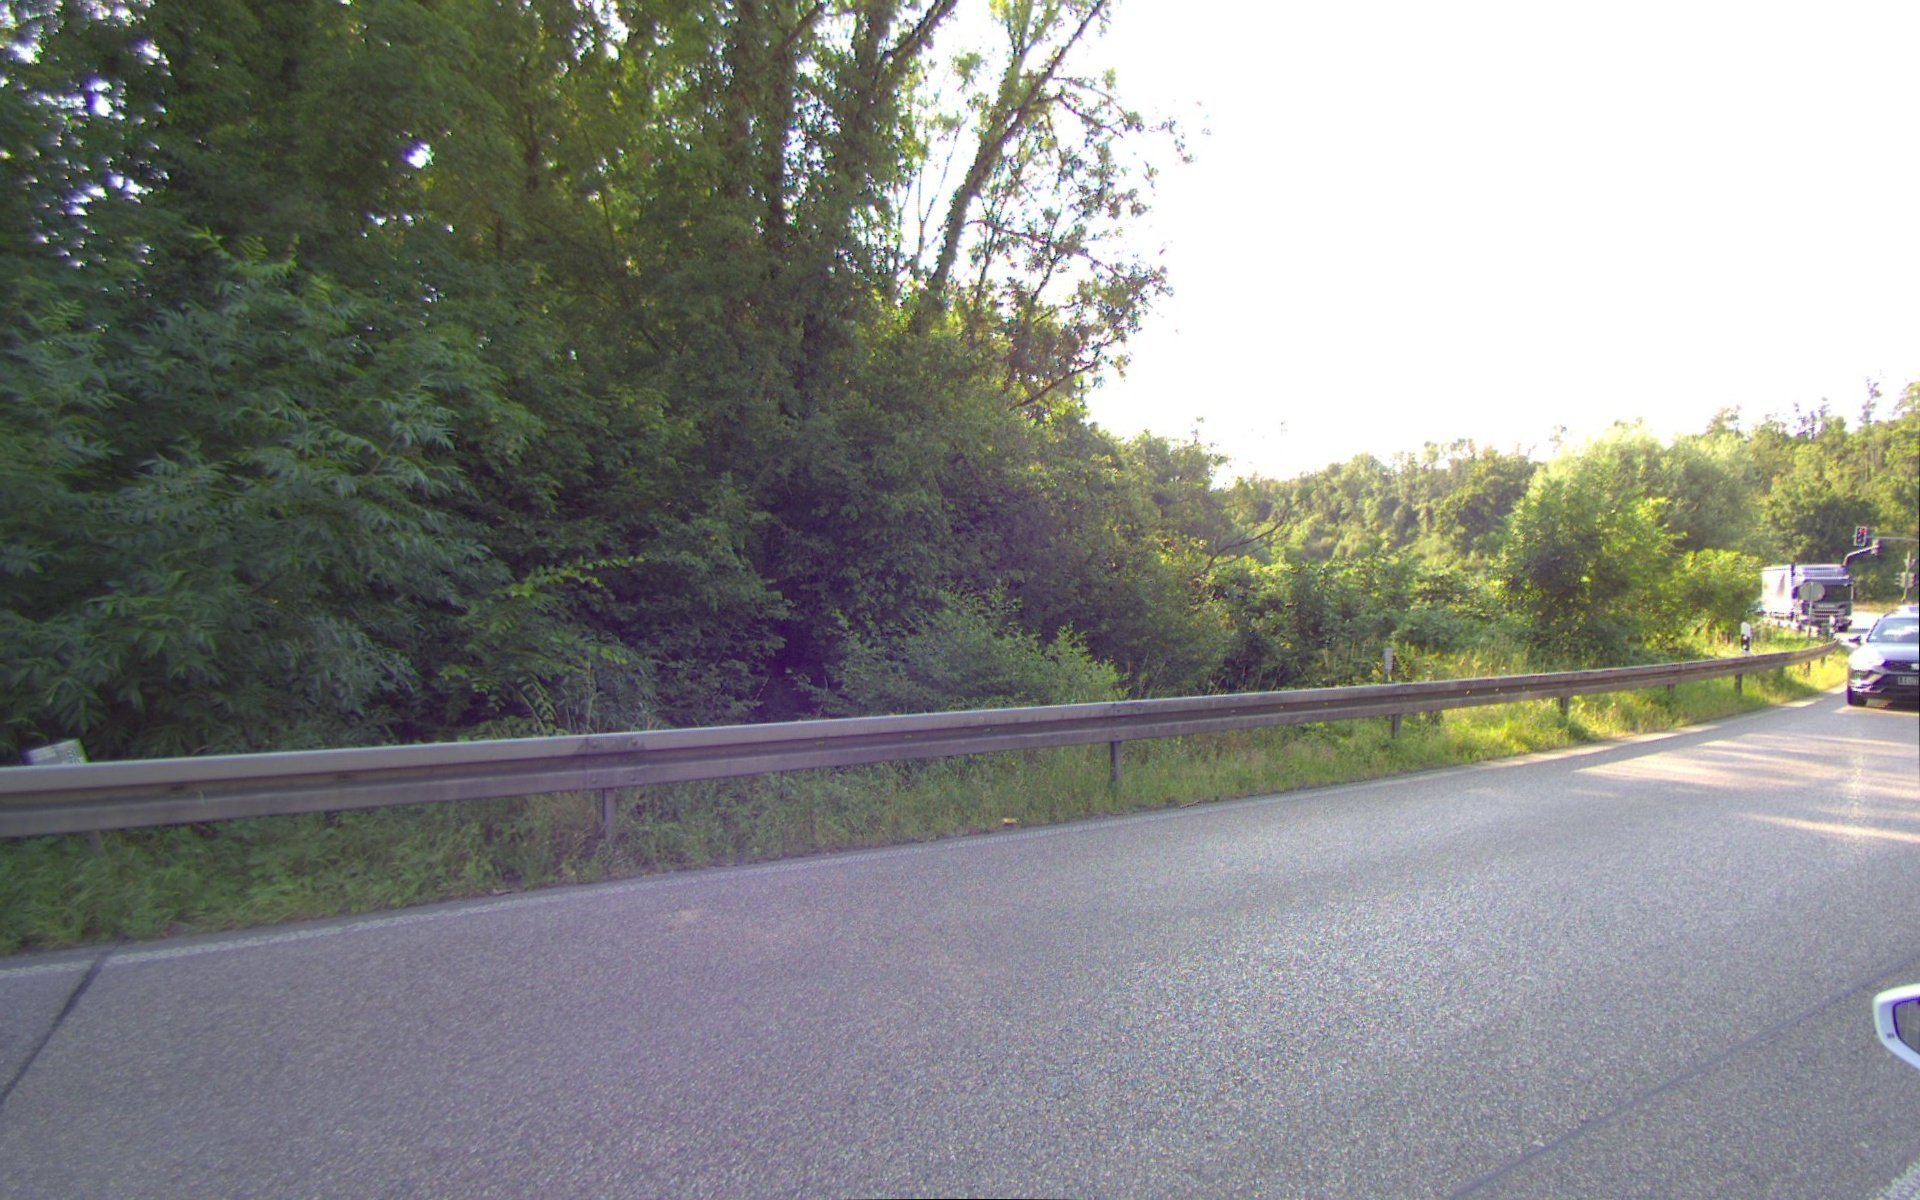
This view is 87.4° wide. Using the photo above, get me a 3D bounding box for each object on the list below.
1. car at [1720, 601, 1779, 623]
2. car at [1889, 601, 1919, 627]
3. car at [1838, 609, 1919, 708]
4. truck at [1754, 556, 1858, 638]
[{"bbox_3d":[62.156,0.966,79.069,3.940,1.577,1.864,2,2,-21],"label":"car"},{"bbox_3d":[60.313,0.904,63.247,1.841,1.586,3.991,3,2,31],"label":"car"},{"bbox_3d":[16.911,0.958,17.600,3.970,1.586,1.851,0,0,-42],"label":"car"},{"bbox_3d":[51.853,-0.155,61.885,2.968,4.646,10.222,2,0,30],"label":"truck"}]
